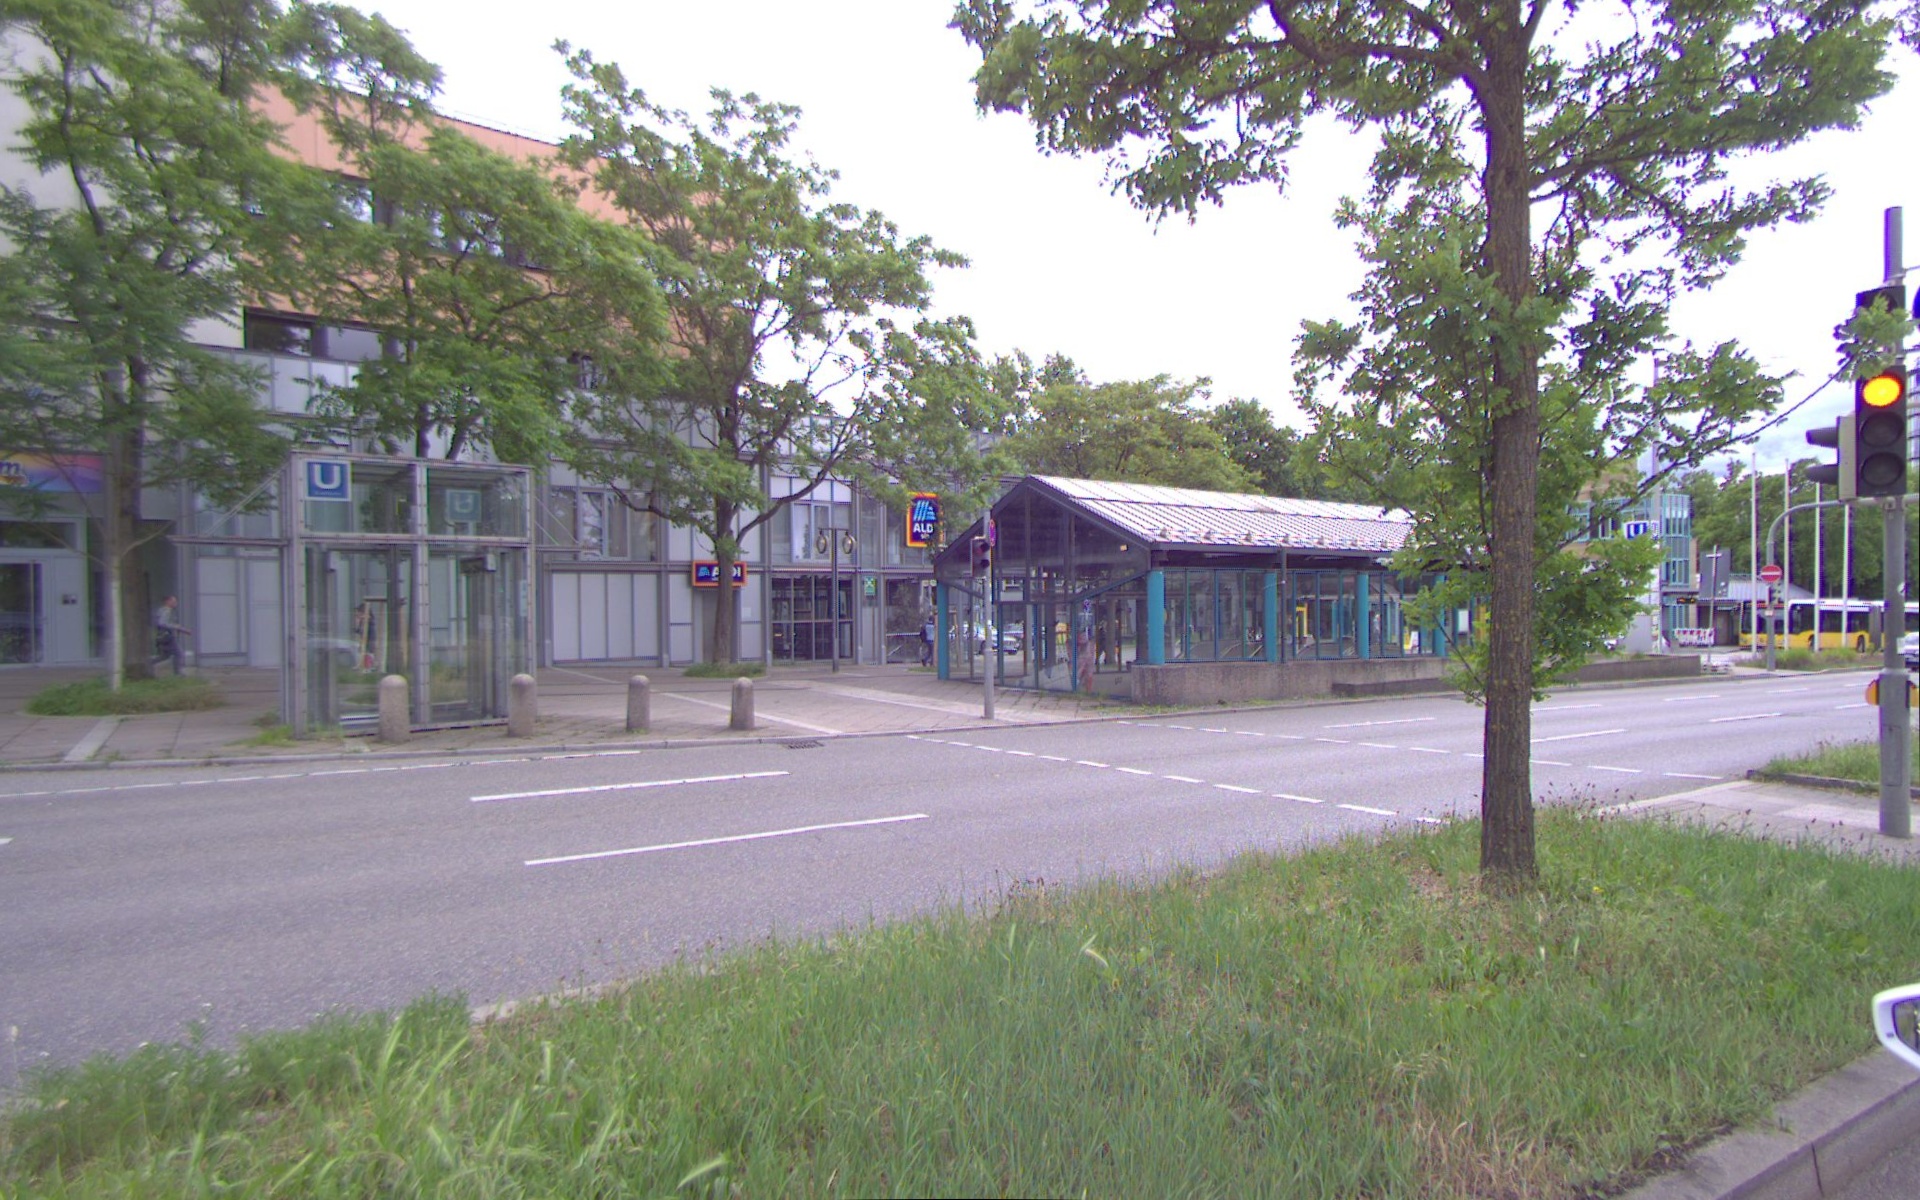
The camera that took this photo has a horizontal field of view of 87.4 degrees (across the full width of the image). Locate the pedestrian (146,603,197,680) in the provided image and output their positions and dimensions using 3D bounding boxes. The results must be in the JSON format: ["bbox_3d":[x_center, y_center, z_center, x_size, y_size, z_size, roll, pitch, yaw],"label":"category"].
[{"bbox_3d":[-15.733,0.814,20.046,0.748,1.499,0.525,1,-1,-36],"label":"pedestrian"}]

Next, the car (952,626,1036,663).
[{"bbox_3d":[1.653,2.195,50.379,1.769,1.710,4.838,1,-1,-33],"label":"car"}]

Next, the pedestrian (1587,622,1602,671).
[{"bbox_3d":[21.239,1.542,33.614,0.412,1.612,0.356,0,-1,31],"label":"pedestrian"}]

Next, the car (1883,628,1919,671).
[{"bbox_3d":[37.551,1.916,39.167,3.316,1.599,1.673,1,-1,-36],"label":"car"}]

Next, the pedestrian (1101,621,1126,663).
[{"bbox_3d":[5.875,1.599,38.519,0.654,1.591,0.630,2,0,-33],"label":"pedestrian"}]

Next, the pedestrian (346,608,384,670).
[{"bbox_3d":[-13.768,0.897,23.238,0.689,1.393,0.578,1,-1,-37],"label":"pedestrian"}]

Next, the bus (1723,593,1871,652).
[{"bbox_3d":[49.926,1.384,59.828,10.036,3.293,2.980,1,-1,-26],"label":"bus"}]

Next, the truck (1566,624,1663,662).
[{"bbox_3d":[28.290,1.844,43.417,3.954,1.537,1.984,1,-1,-31],"label":"truck"}]

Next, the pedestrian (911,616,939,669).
[{"bbox_3d":[-1.093,1.335,31.688,0.703,1.677,0.517,1,-1,-37],"label":"pedestrian"}]

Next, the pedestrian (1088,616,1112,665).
[{"bbox_3d":[4.935,1.430,35.455,0.649,1.689,0.635,2,0,-8],"label":"pedestrian"}]

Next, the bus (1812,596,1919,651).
[{"bbox_3d":[57.923,1.546,63.768,7.771,3.313,2.980,1,-1,-26],"label":"bus"}]

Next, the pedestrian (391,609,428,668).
[{"bbox_3d":[-13.287,0.916,24.224,0.689,1.393,0.578,1,-1,-37],"label":"pedestrian"}]

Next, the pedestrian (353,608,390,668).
[{"bbox_3d":[-13.991,0.893,23.869,0.689,1.393,0.578,1,-1,-37],"label":"pedestrian"}]
